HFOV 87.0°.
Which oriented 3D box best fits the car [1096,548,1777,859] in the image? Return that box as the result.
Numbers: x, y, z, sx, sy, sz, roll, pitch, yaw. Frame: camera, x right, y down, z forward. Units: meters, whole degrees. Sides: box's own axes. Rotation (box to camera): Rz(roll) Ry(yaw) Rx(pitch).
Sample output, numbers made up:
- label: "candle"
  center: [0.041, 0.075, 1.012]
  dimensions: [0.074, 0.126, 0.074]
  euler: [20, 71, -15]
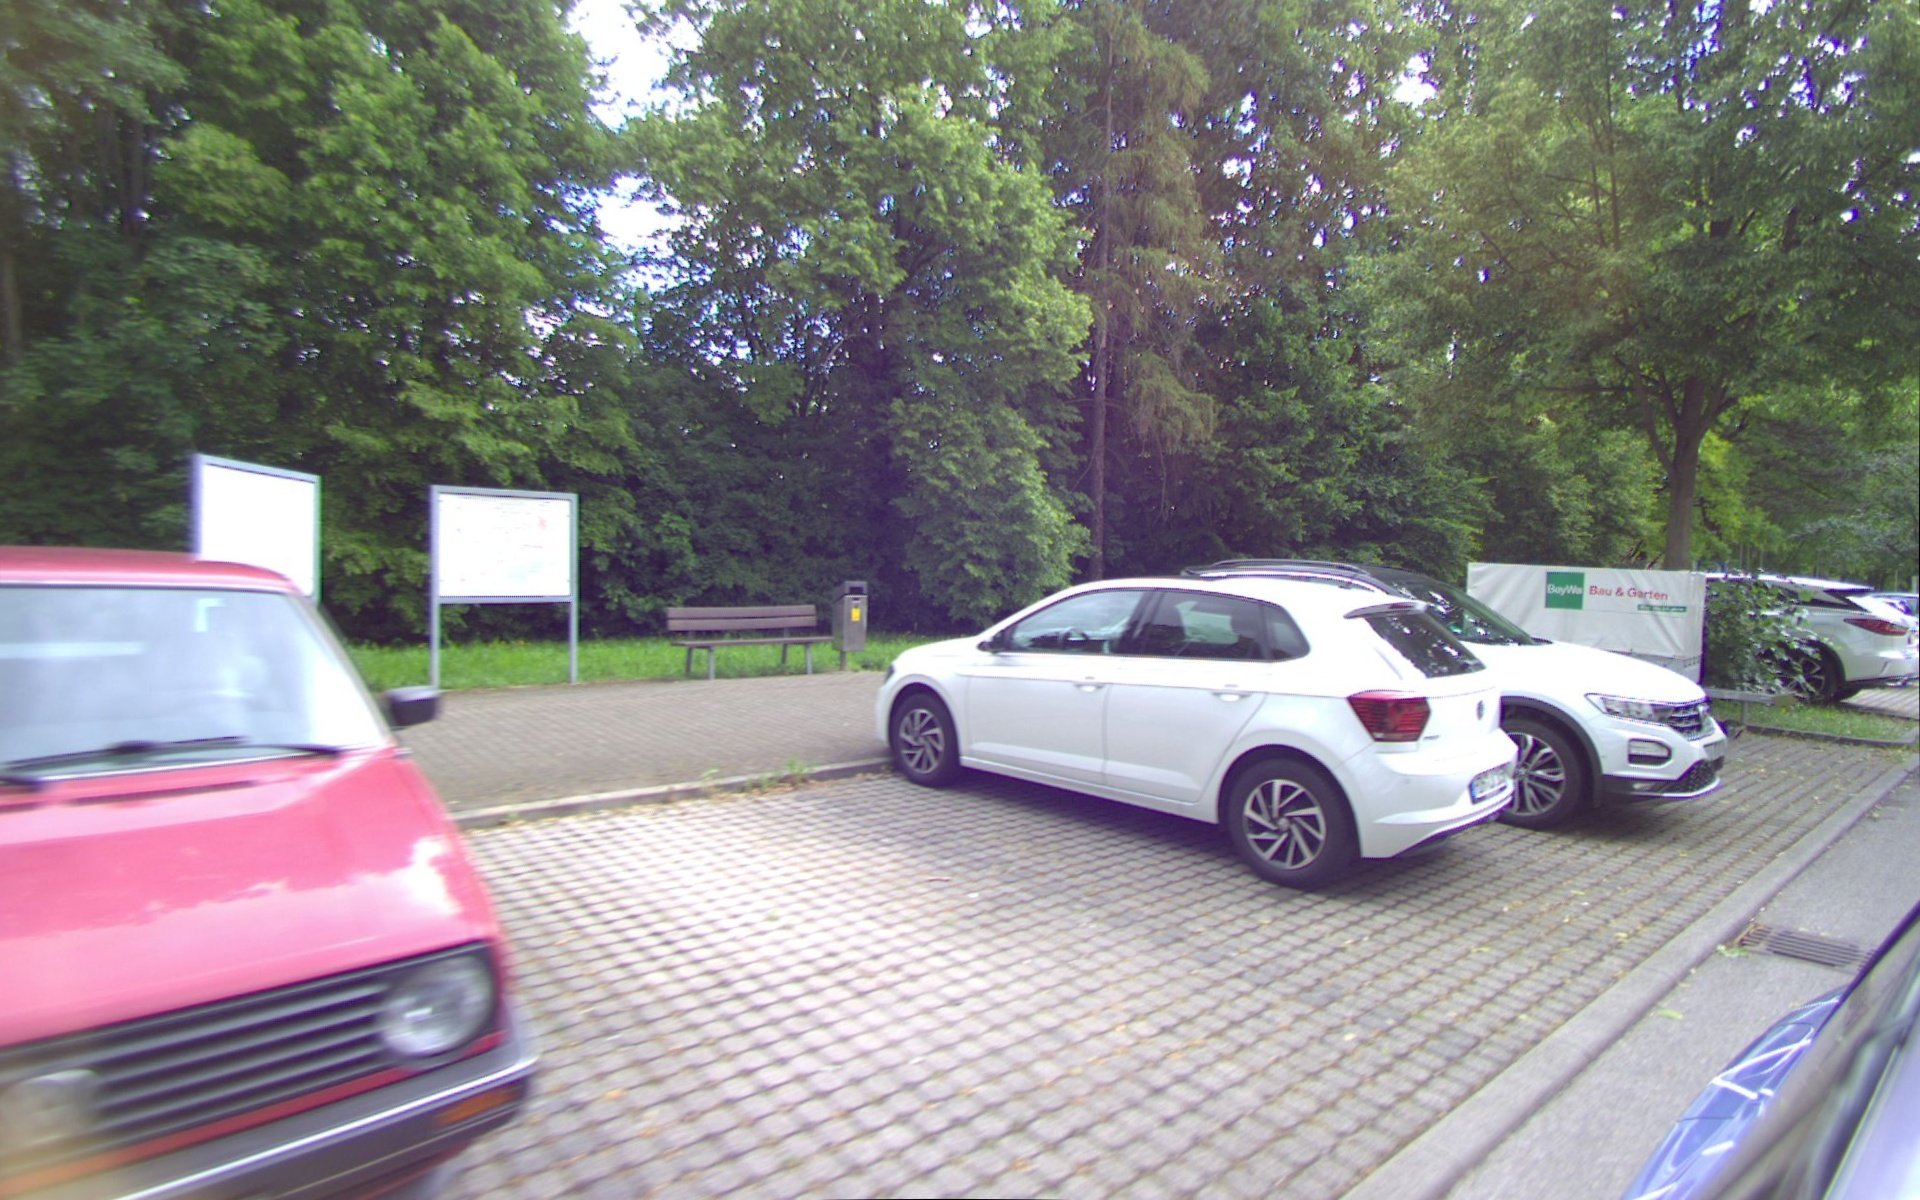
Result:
- label: "car"
  center: [3.204, 0.458, 7.452]
  dimensions: [1.830, 1.566, 4.119]
  euler: [0, 3, -43]

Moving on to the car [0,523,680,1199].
- label: "car"
  center: [-2.561, 0.506, 2.916]
  dimensions: [1.785, 1.439, 4.062]
  euler: [0, 3, -41]

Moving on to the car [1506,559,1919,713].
- label: "car"
  center: [10.798, 0.349, 14.507]
  dimensions: [1.937, 1.714, 4.833]
  euler: [0, 3, -37]

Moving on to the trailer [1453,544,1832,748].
- label: "trailer"
  center: [7.170, 0.349, 10.802]
  dimensions: [1.537, 1.812, 3.034]
  euler: [0, 3, -43]

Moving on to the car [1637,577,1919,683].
- label: "car"
  center: [14.787, 0.440, 18.025]
  dimensions: [1.818, 1.590, 4.169]
  euler: [0, 2, -38]

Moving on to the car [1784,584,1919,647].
- label: "car"
  center: [23.920, 0.377, 25.937]
  dimensions: [1.755, 1.482, 4.093]
  euler: [0, 2, -42]

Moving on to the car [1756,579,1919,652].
- label: "car"
  center: [21.913, 0.348, 24.305]
  dimensions: [1.755, 1.590, 4.142]
  euler: [0, 2, -42]

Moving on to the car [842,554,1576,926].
- label: "car"
  center: [1.236, 0.502, 6.195]
  dimensions: [4.011, 1.439, 1.763]
  euler: [4, 4, 45]

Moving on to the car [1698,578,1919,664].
- label: "car"
  center: [18.200, 0.383, 21.210]
  dimensions: [1.757, 1.590, 4.162]
  euler: [0, 2, -44]
